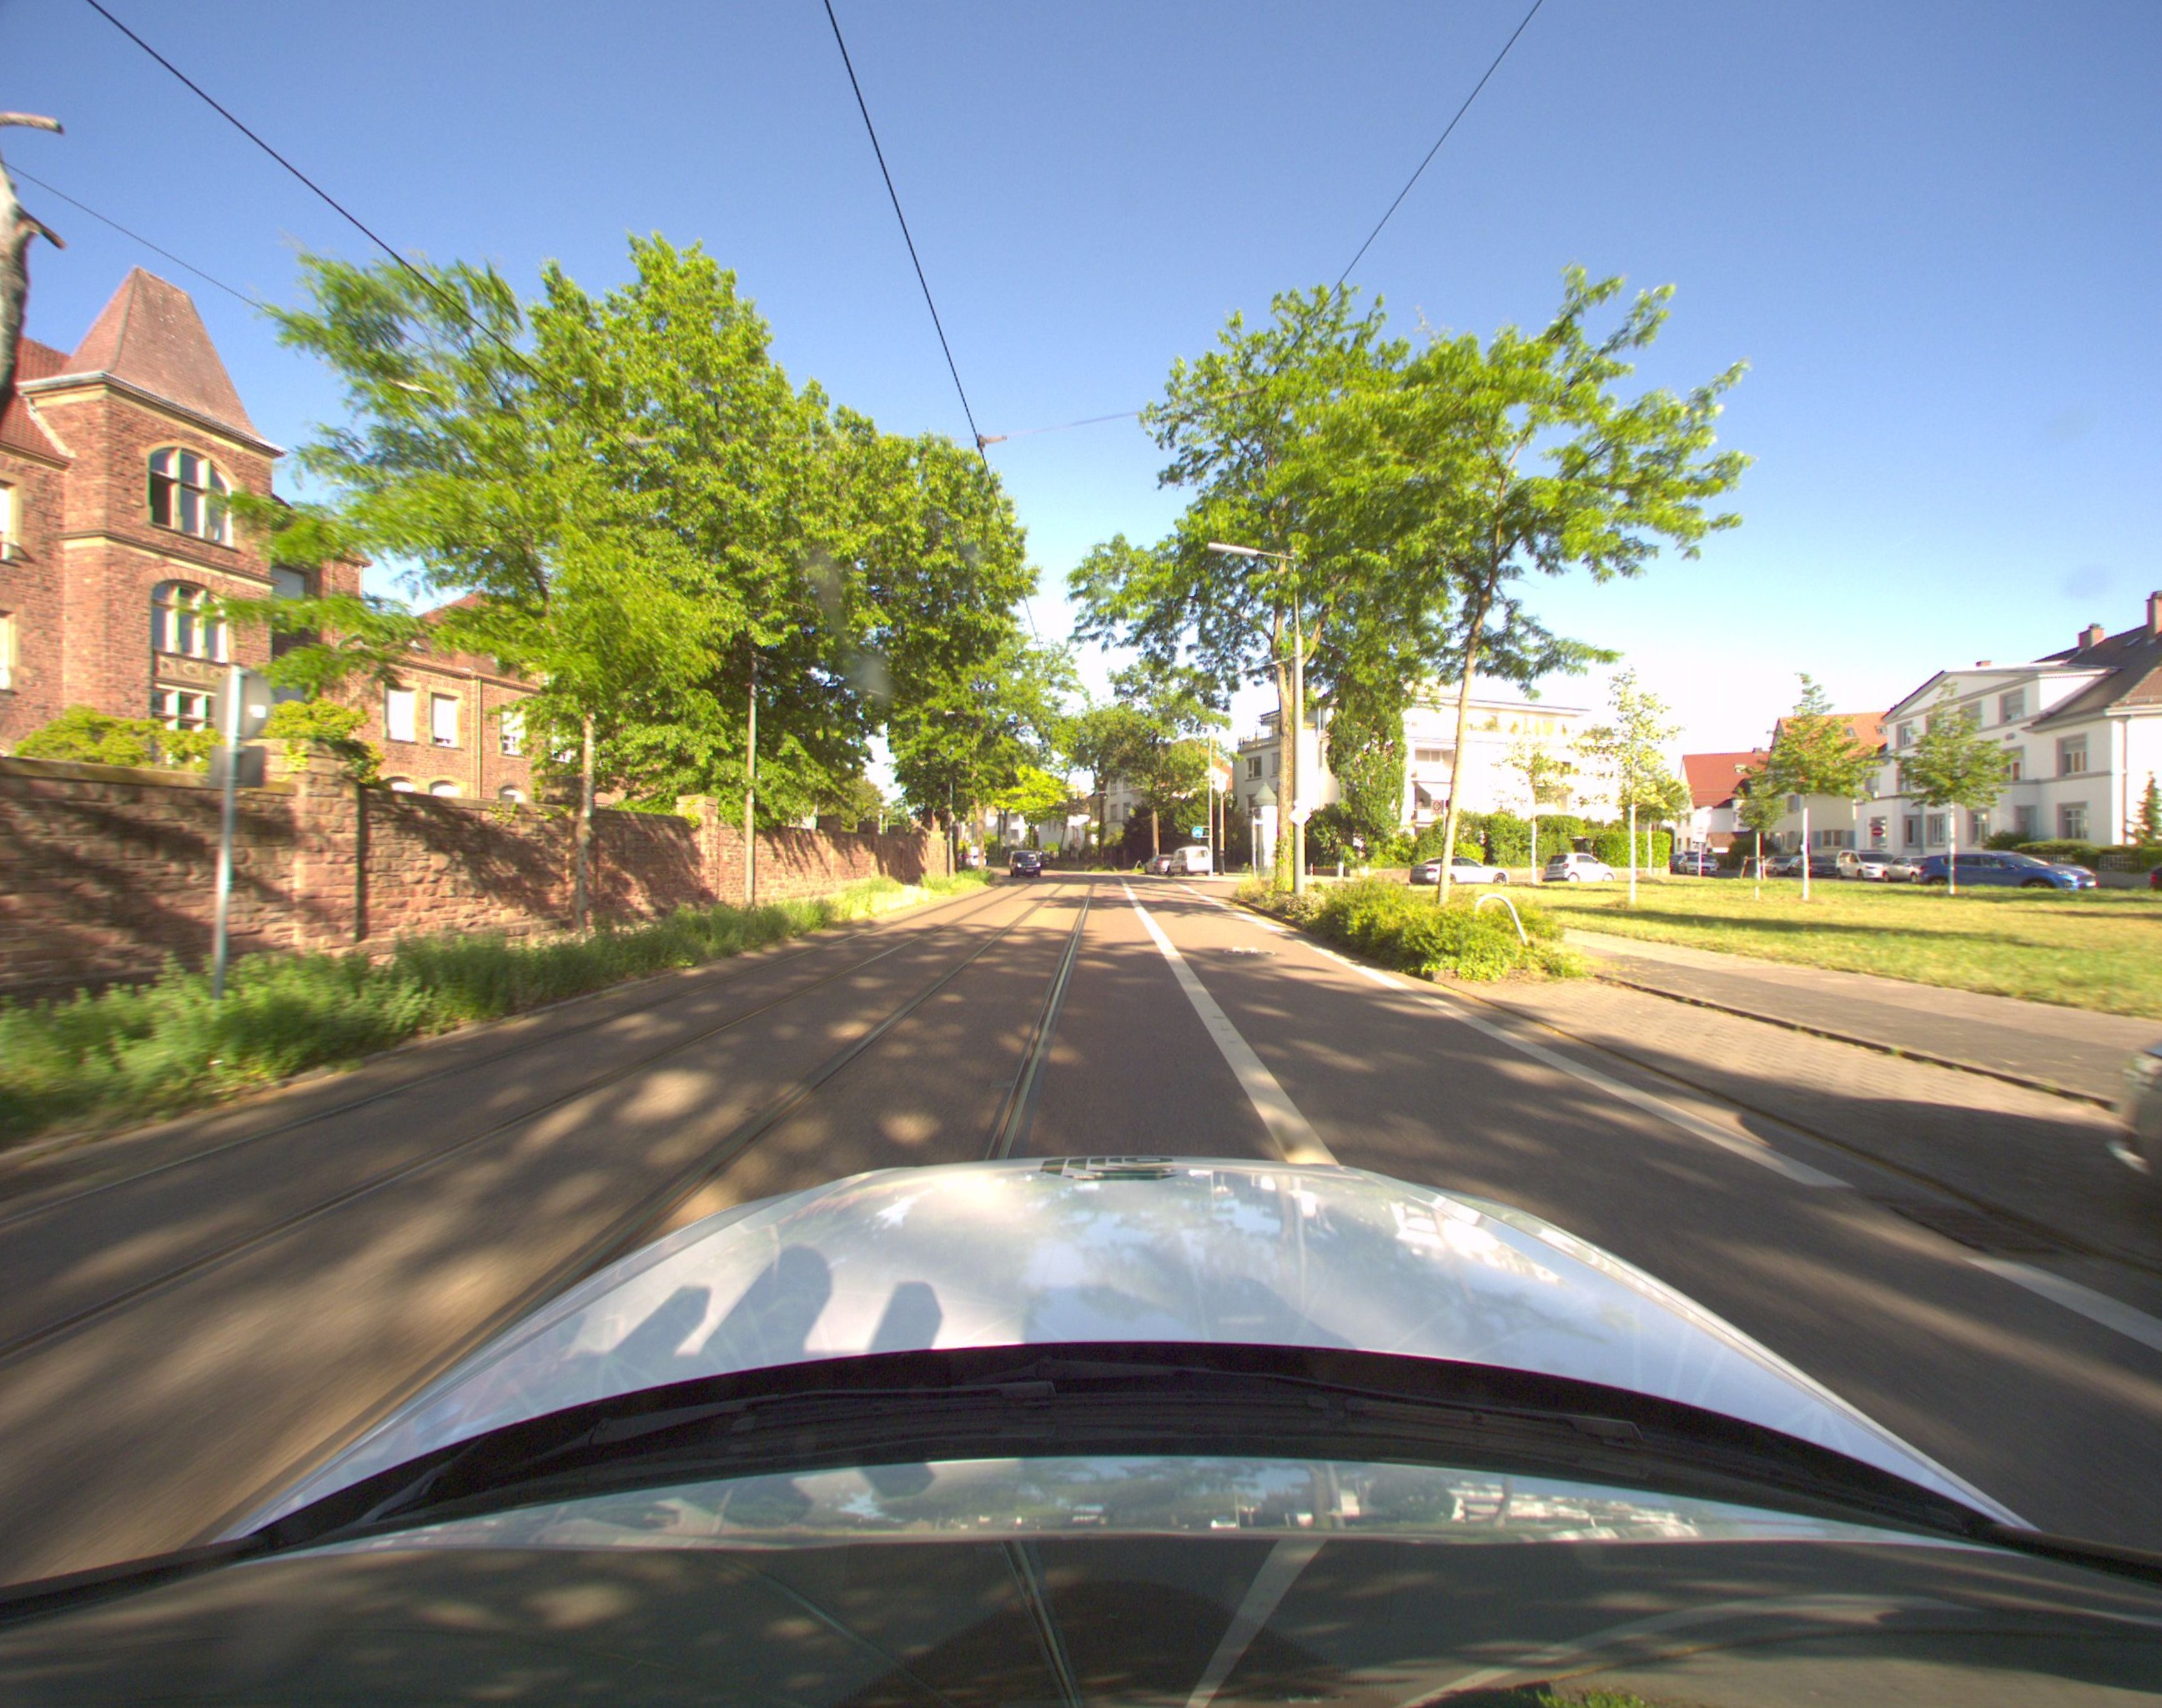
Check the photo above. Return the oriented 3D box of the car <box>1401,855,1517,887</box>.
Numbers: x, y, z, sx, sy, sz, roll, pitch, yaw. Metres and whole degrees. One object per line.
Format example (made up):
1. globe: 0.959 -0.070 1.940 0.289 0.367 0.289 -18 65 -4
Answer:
1. car: 16.815 0.720 36.273 4.520 1.369 1.958 0 0 -17

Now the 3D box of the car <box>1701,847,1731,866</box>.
1. car: 59.650 0.259 76.572 1.856 1.708 4.315 0 0 33

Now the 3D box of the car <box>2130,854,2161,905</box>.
1. car: 36.446 0.823 25.075 1.999 1.650 4.738 1 -1 -18

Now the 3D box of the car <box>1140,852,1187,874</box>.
1. car: 5.810 0.642 57.824 1.996 1.423 4.311 -1 -1 -14

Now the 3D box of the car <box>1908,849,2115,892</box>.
1. car: 34.886 0.579 30.747 2.063 1.471 4.728 0 0 -17

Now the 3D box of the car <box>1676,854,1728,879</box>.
1. car: 44.530 0.873 58.471 2.027 1.708 4.312 0 0 24

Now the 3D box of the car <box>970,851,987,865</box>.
1. car: -12.655 0.505 100.217 1.893 1.611 4.212 0 -2 -11

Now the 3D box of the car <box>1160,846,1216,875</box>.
1. car: 6.744 0.418 51.911 2.025 1.747 4.729 -1 0 -14

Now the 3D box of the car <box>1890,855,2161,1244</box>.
1. car: 5.245 0.751 1.537 1.994 1.465 5.432 -4 0 0

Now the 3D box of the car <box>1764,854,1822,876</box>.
1. car: 50.740 0.773 58.110 1.976 1.520 4.022 0 0 24

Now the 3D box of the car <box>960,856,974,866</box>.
1. car: -16.168 0.974 115.444 1.993 1.442 3.987 0 0 -9

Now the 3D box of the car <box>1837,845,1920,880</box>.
1. car: 44.787 0.495 45.854 1.975 1.842 4.583 0 -1 26

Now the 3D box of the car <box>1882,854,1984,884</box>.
1. car: 42.471 0.741 40.758 1.975 1.429 4.790 0 -1 26

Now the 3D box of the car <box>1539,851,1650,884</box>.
1. car: 24.012 0.642 38.164 4.281 1.511 1.833 0 -3 -11

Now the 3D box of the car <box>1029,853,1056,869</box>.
1. car: -4.283 0.764 90.030 1.809 1.694 4.700 -4 1 -17

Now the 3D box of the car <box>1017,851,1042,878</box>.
1. car: -3.567 0.717 57.052 1.629 1.792 4.333 0 0 -3

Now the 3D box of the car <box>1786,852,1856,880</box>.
1. car: 48.246 0.764 53.230 1.976 1.785 4.627 0 0 23
